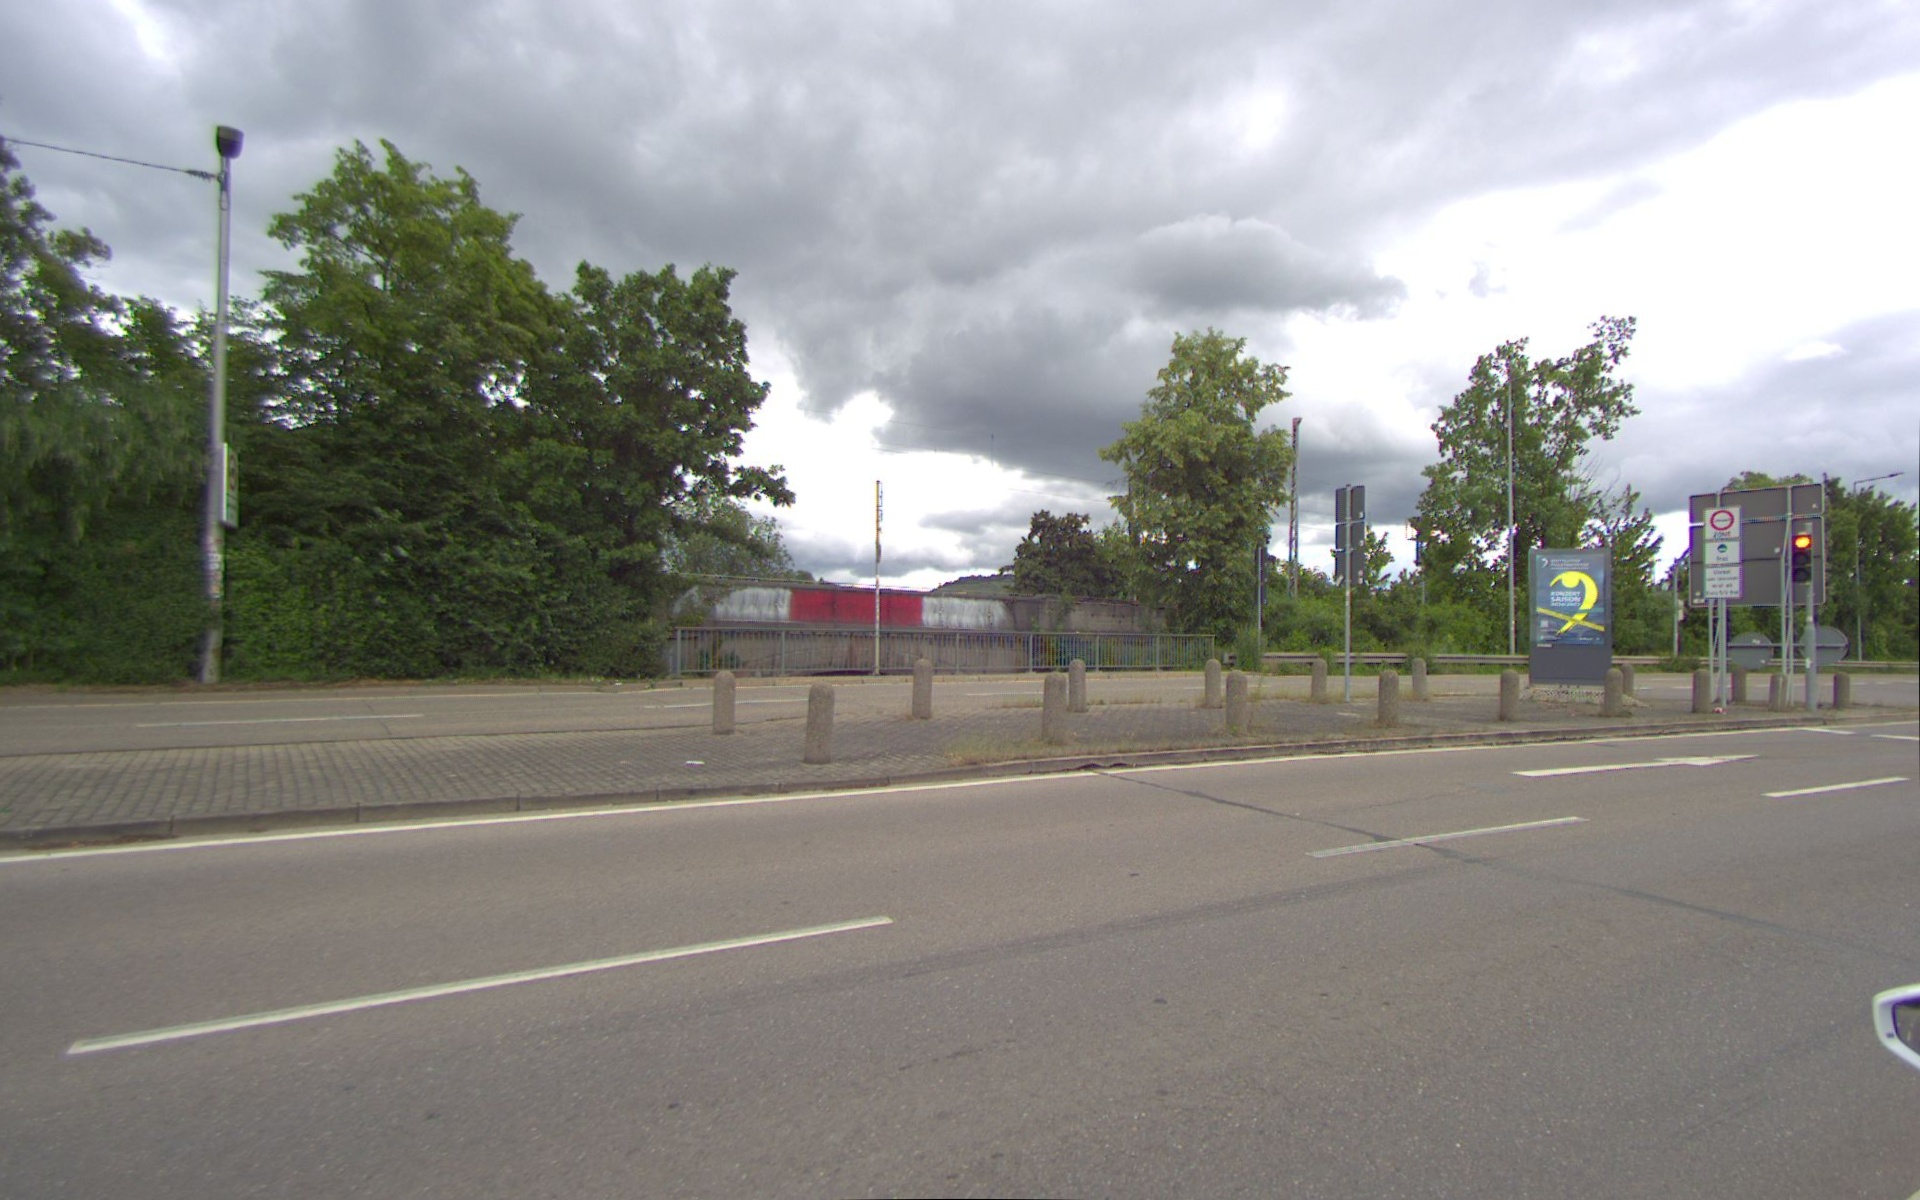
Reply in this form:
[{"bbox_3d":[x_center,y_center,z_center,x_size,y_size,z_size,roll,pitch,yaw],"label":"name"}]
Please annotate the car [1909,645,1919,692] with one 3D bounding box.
[{"bbox_3d":[29.946,2.086,29.566,1.697,1.480,4.241,3,-2,26],"label":"car"}]
